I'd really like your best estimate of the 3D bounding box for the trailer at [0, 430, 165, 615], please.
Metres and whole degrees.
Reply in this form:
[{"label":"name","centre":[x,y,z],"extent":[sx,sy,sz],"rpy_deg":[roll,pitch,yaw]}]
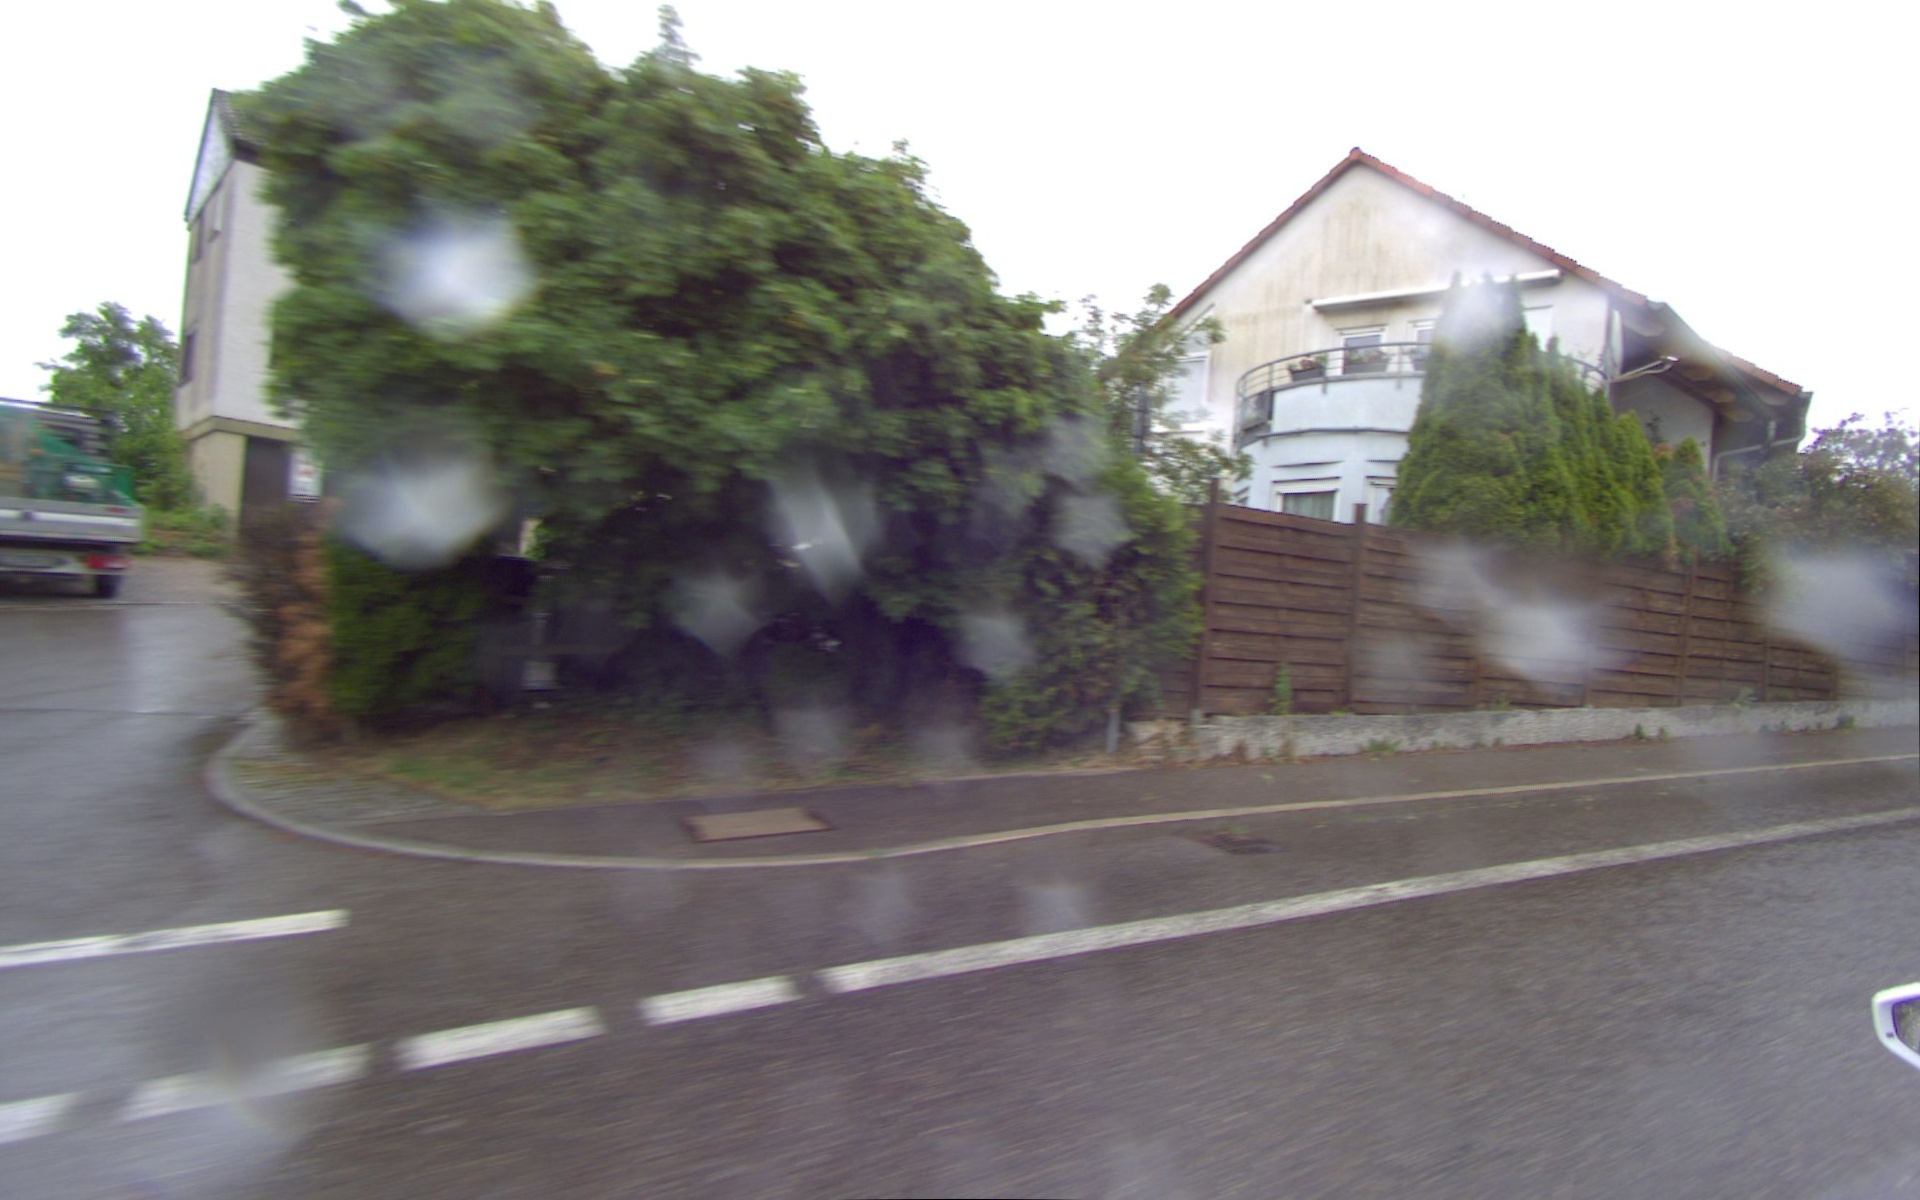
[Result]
[{"label":"trailer","centre":[-11.869,-1.098,12.941],"extent":[2.147,2.032,3.948],"rpy_deg":[2,6,-44]}]
